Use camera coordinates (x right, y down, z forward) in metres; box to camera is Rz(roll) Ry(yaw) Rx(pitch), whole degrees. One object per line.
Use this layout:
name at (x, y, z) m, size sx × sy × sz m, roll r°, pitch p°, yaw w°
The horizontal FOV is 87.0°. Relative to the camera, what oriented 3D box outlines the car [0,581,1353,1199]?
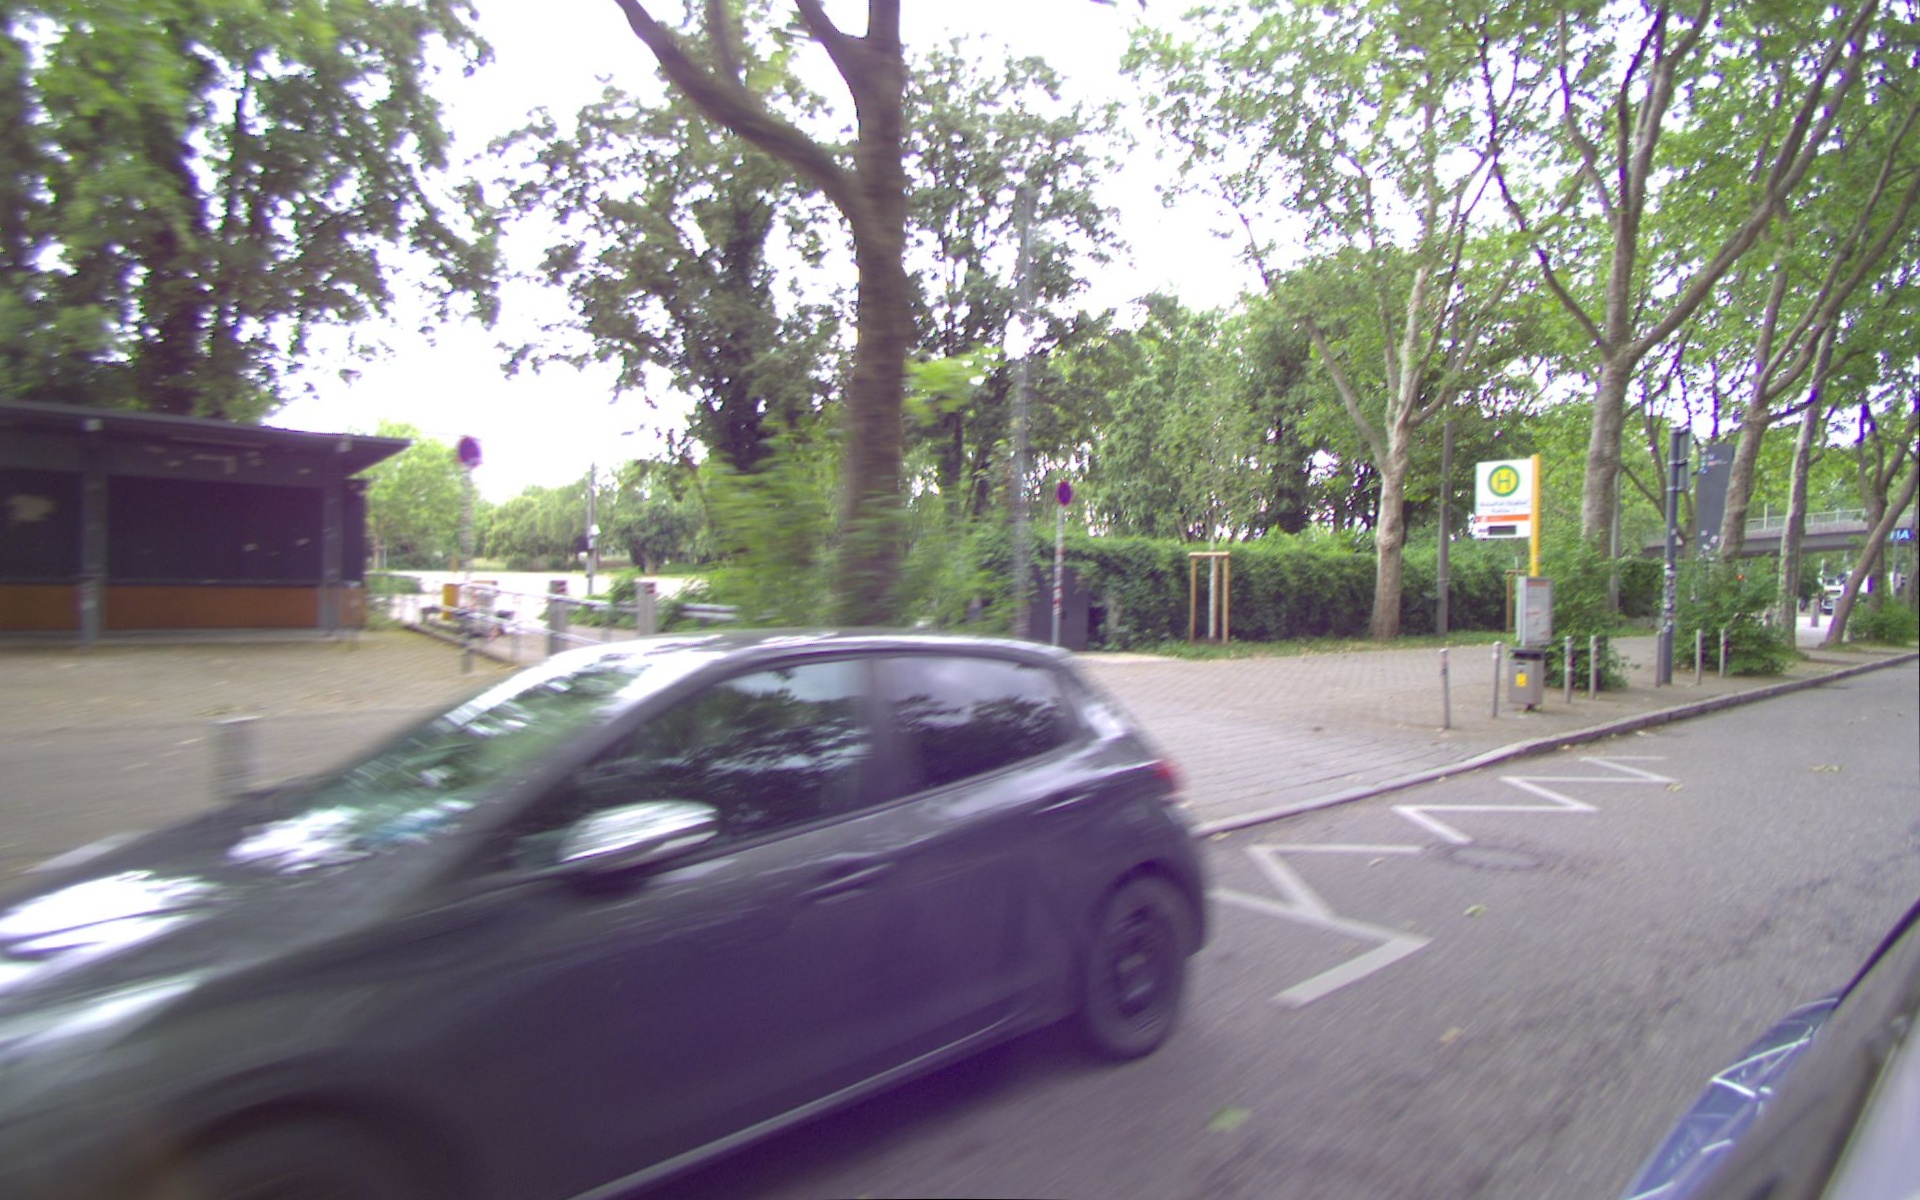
car at (-0.635, 0.780, 3.320) m, size 4.375 × 1.539 × 1.701 m, roll 0°, pitch -3°, yaw -41°
